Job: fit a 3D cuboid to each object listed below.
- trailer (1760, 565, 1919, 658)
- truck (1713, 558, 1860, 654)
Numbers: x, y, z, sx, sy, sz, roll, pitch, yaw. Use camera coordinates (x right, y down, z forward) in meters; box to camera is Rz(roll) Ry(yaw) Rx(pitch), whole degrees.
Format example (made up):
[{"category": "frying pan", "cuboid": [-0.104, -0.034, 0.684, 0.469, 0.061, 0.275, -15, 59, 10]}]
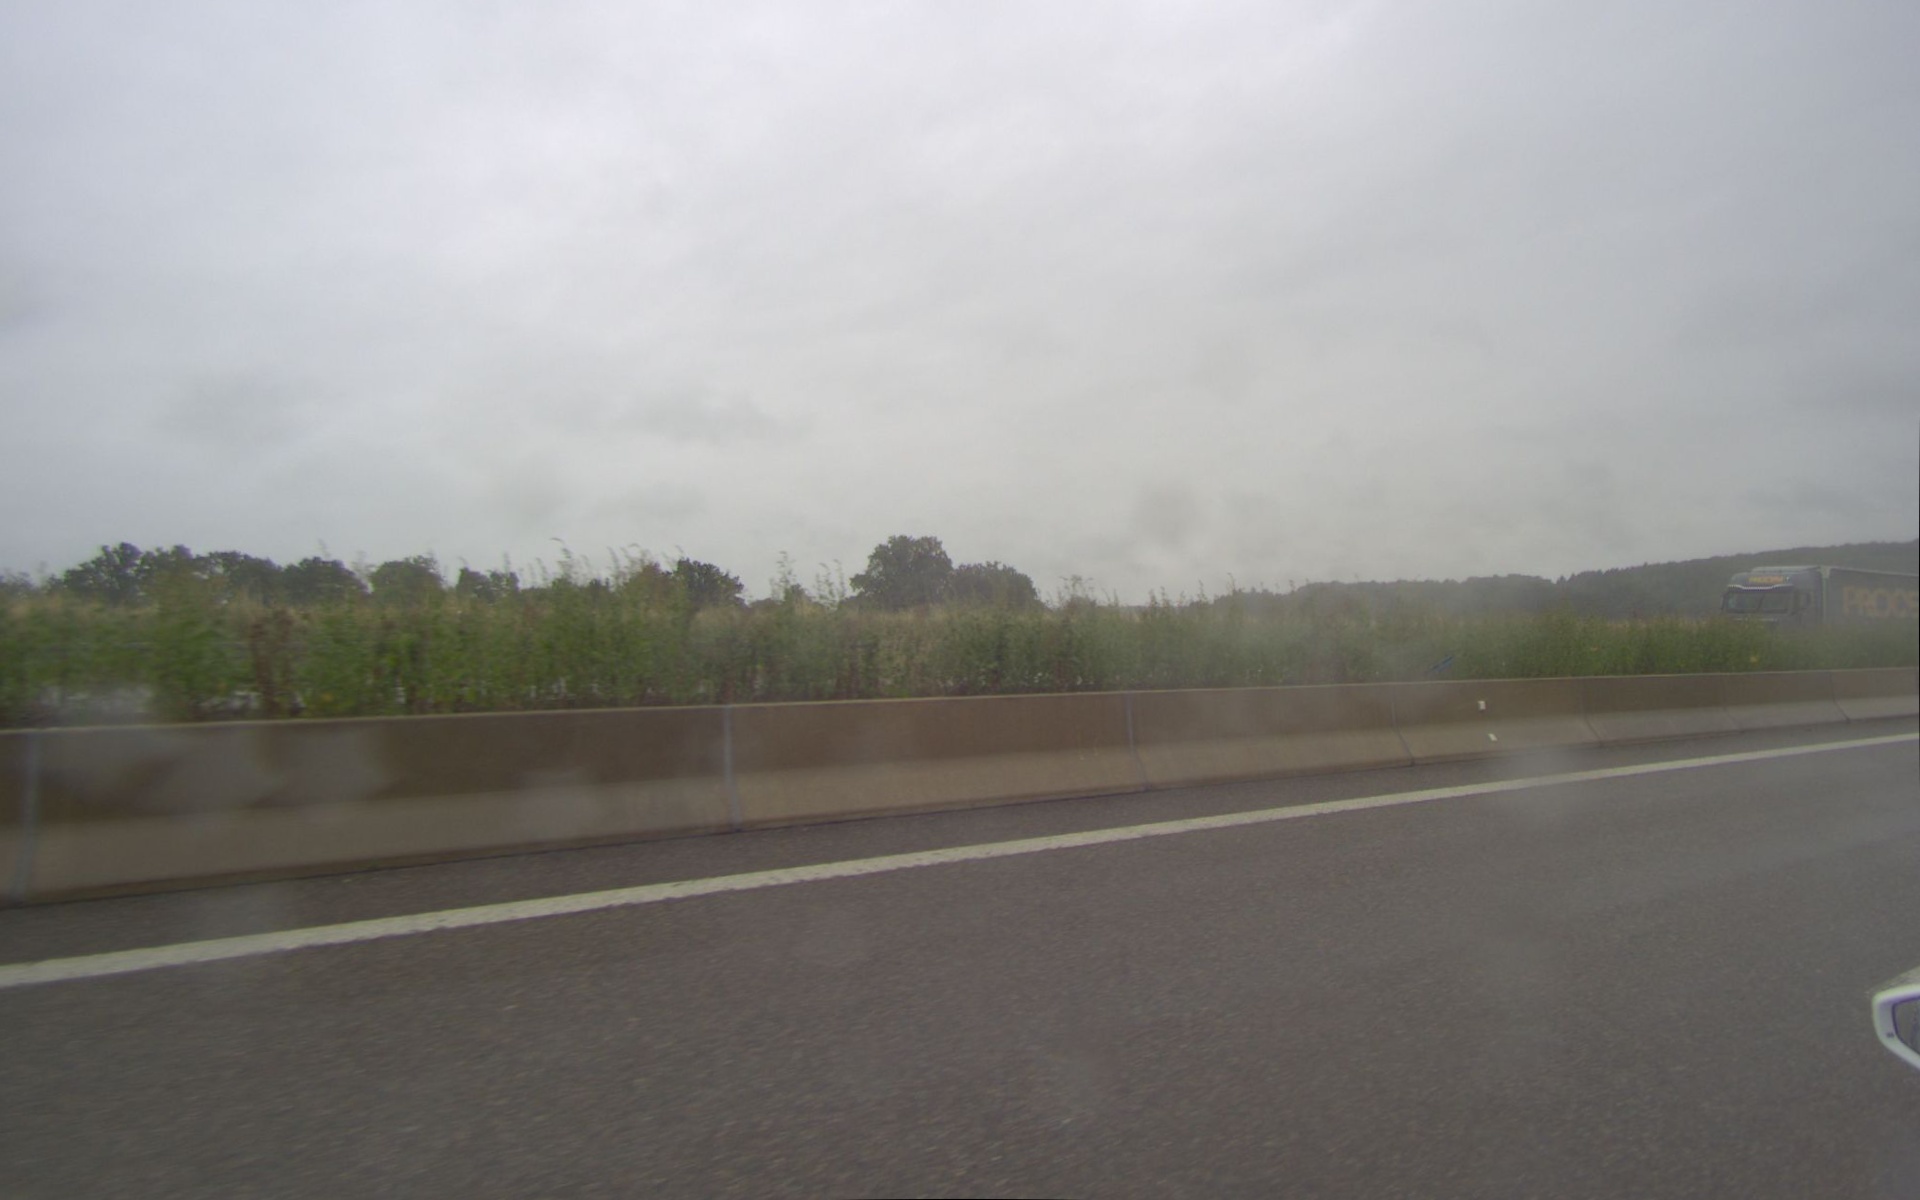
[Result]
[{"category": "trailer", "cuboid": [41.031, 0.664, 45.647, 12.344, 3.687, 2.978, 3, -1, -30]}, {"category": "truck", "cuboid": [34.402, 0.305, 41.824, 5.398, 3.670, 2.936, 3, -1, -29]}]
